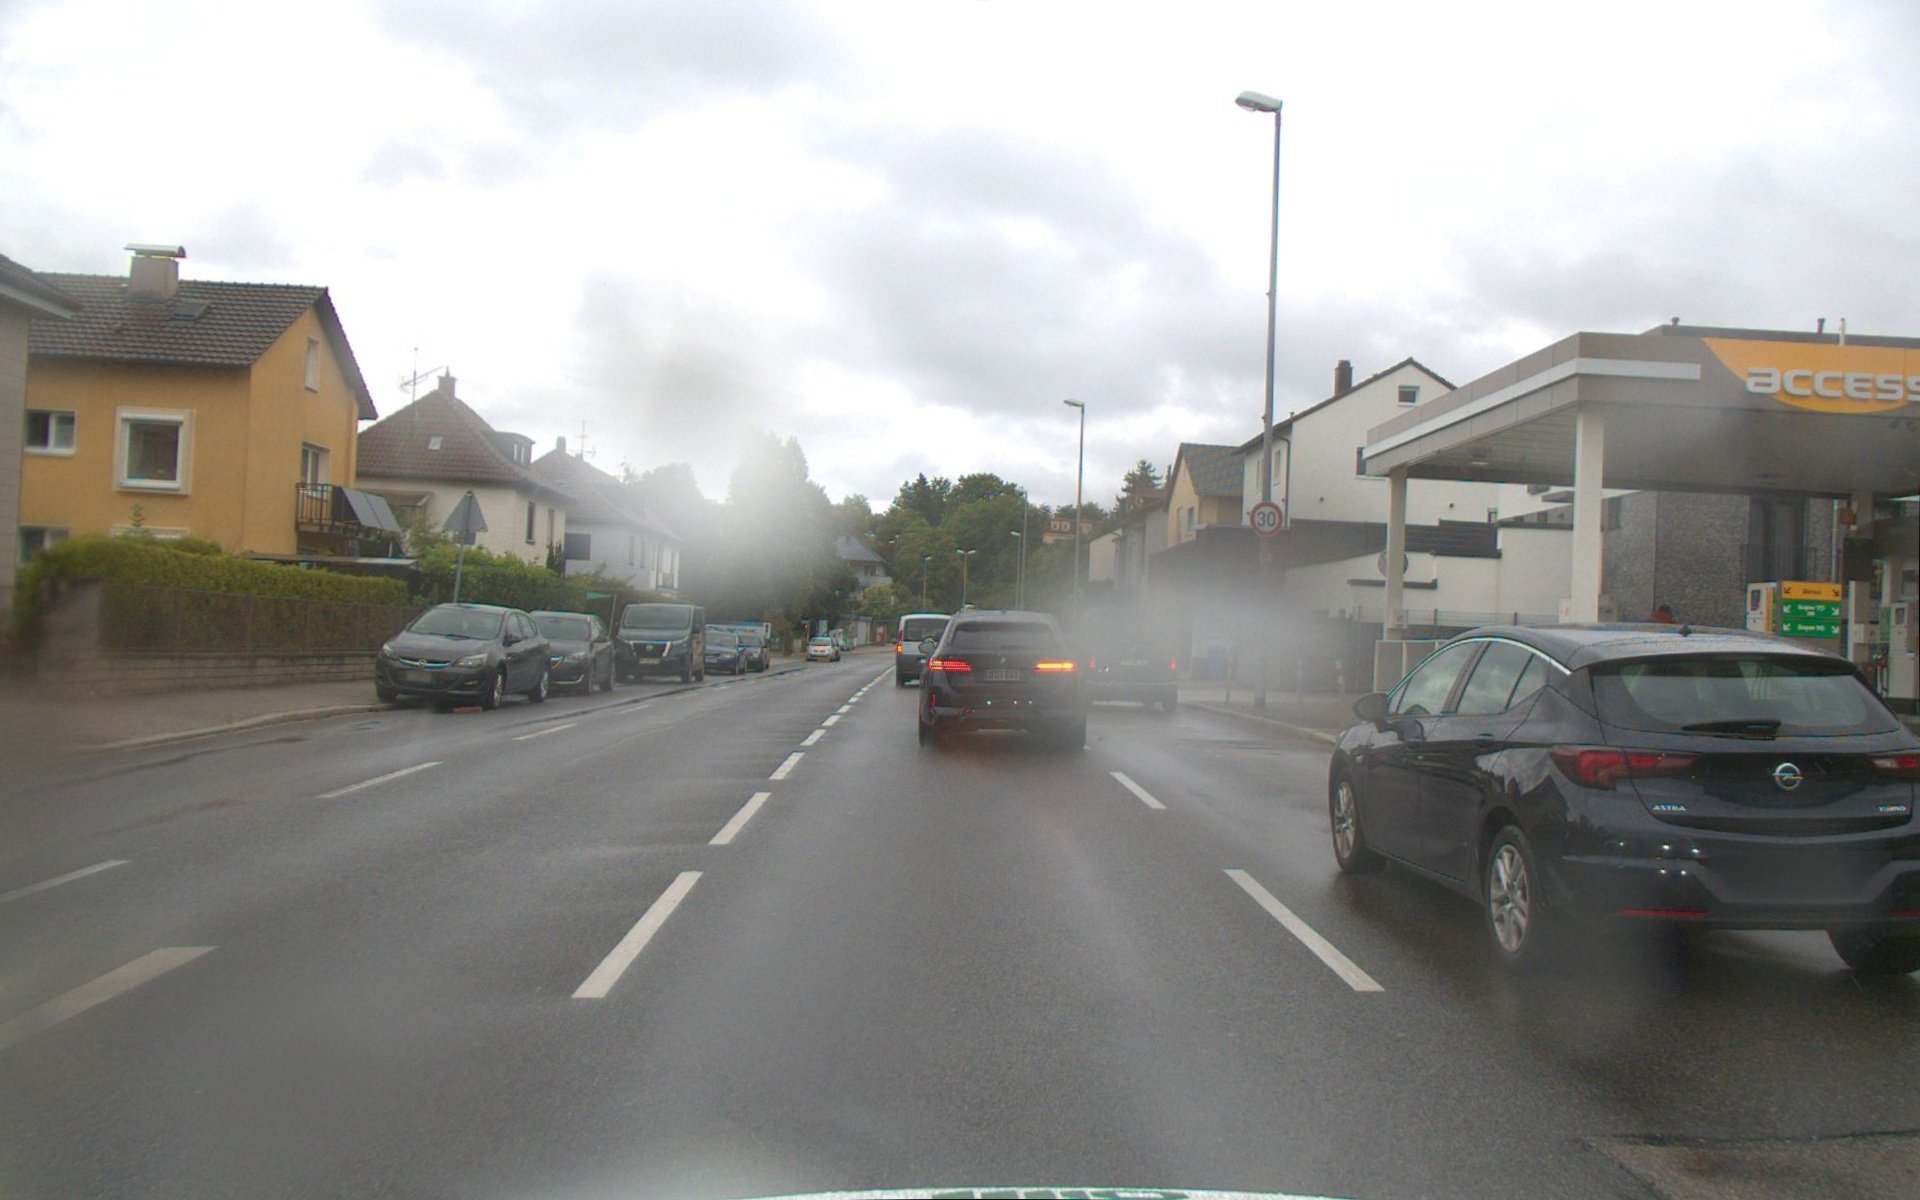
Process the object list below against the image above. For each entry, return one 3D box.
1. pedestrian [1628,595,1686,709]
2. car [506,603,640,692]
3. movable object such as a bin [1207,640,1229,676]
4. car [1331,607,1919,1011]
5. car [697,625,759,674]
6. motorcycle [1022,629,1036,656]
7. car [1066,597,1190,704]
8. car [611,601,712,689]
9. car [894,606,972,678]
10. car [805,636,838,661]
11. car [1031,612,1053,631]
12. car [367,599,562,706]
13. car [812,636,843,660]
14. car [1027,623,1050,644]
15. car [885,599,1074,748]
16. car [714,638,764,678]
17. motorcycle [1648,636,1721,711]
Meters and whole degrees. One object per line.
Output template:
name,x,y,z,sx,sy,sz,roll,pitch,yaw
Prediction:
pedestrian,10.498,0.782,24.919,0.597,1.685,0.585,2,-2,-1
car,-7.373,0.915,31.913,1.715,1.543,4.524,2,-2,-3
movable object such as a bin,8.281,1.869,53.068,0.583,1.124,0.667,-1,-1,-2
car,3.174,0.789,8.138,1.721,1.475,3.999,1,0,-1
car,-7.998,1.711,57.357,1.722,1.559,4.283,2,-2,-3
motorcycle,3.933,2.442,94.335,0.689,1.536,2.150,-1,-2,-1
car,3.022,0.925,30.439,1.801,1.798,3.999,2,-2,-1
car,-7.521,1.154,42.138,1.875,2.038,5.083,2,-2,-3
car,-0.717,1.135,44.340,1.953,1.768,3.999,2,-2,-1
car,-9.226,3.240,110.233,1.846,1.613,3.999,2,-2,-1
car,11.139,2.874,224.258,2.471,2.048,5.608,3,3,-2
car,-7.482,0.805,25.377,1.714,1.465,4.129,2,-2,0
car,-9.322,3.382,116.787,1.846,1.613,3.999,2,-2,-1
car,8.922,3.807,187.938,2.469,2.048,5.610,2,1,2
car,0.207,0.832,19.410,1.953,1.510,3.999,2,-2,0
car,-8.437,2.218,63.480,1.520,1.456,4.012,2,-2,-3
motorcycle,10.803,1.094,24.706,0.453,1.074,1.390,2,-2,-1
